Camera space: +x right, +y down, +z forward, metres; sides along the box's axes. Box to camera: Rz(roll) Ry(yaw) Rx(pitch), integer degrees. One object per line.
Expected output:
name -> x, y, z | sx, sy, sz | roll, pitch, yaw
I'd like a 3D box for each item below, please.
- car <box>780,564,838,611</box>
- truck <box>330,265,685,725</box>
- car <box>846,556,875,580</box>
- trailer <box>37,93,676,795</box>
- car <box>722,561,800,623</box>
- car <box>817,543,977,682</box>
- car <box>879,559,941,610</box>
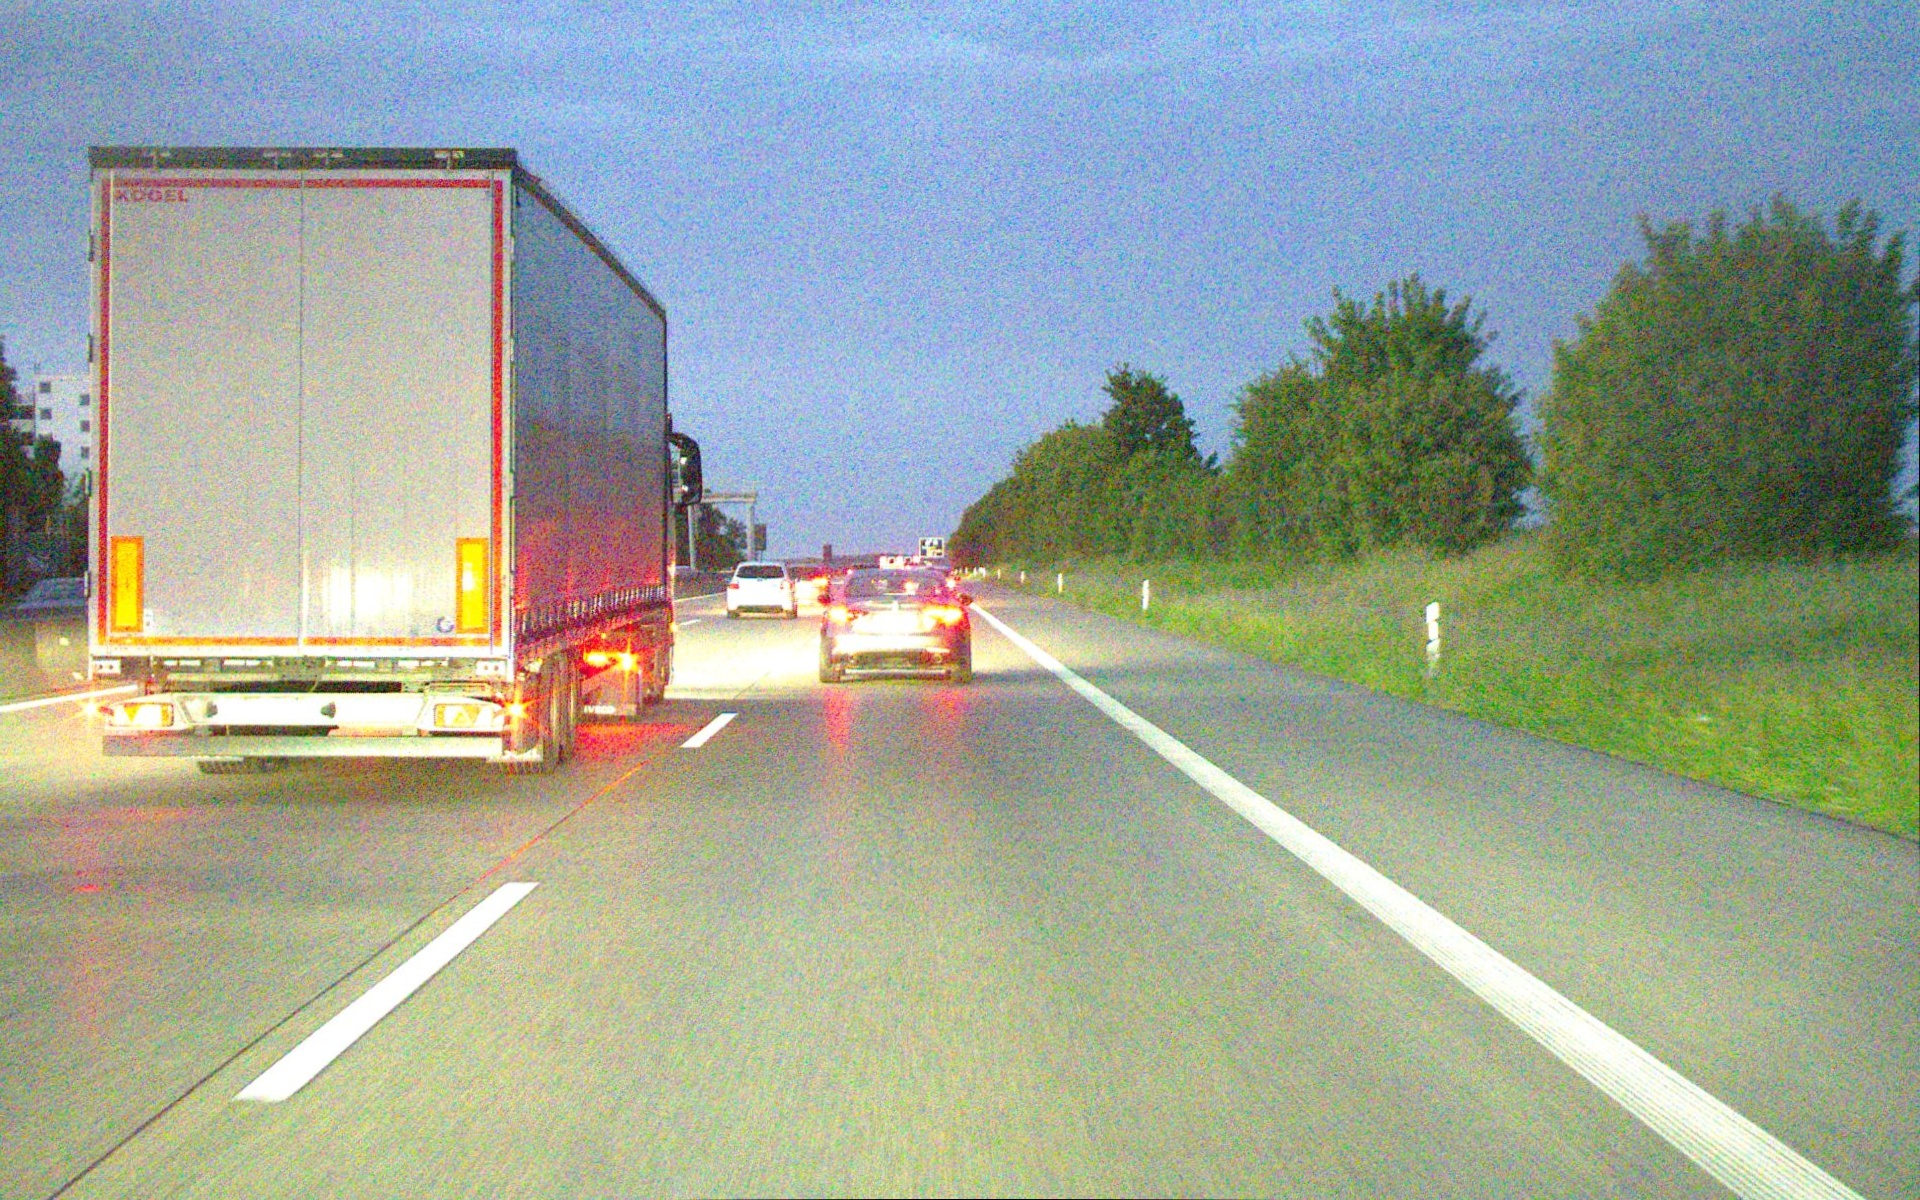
car -> -4.894, -0.401, 111.769 | 1.722, 1.466, 4.726 | 1, 0, -1
truck -> -4.260, -0.941, 33.574 | 2.777, 4.079, 6.103 | 0, 0, -1
car -> -6.745, -2.181, 233.584 | 1.880, 1.547, 4.000 | 1, 0, -1
trailer -> -4.103, -0.933, 27.236 | 2.794, 4.071, 14.526 | 0, 0, -1
car -> -5.119, -0.210, 88.976 | 1.744, 1.519, 4.414 | 1, 0, 0
car -> -0.780, 0.146, 43.241 | 1.880, 1.637, 4.000 | 1, 0, -1
car -> -1.583, -0.484, 107.802 | 1.880, 1.547, 4.000 | 1, 0, -1
